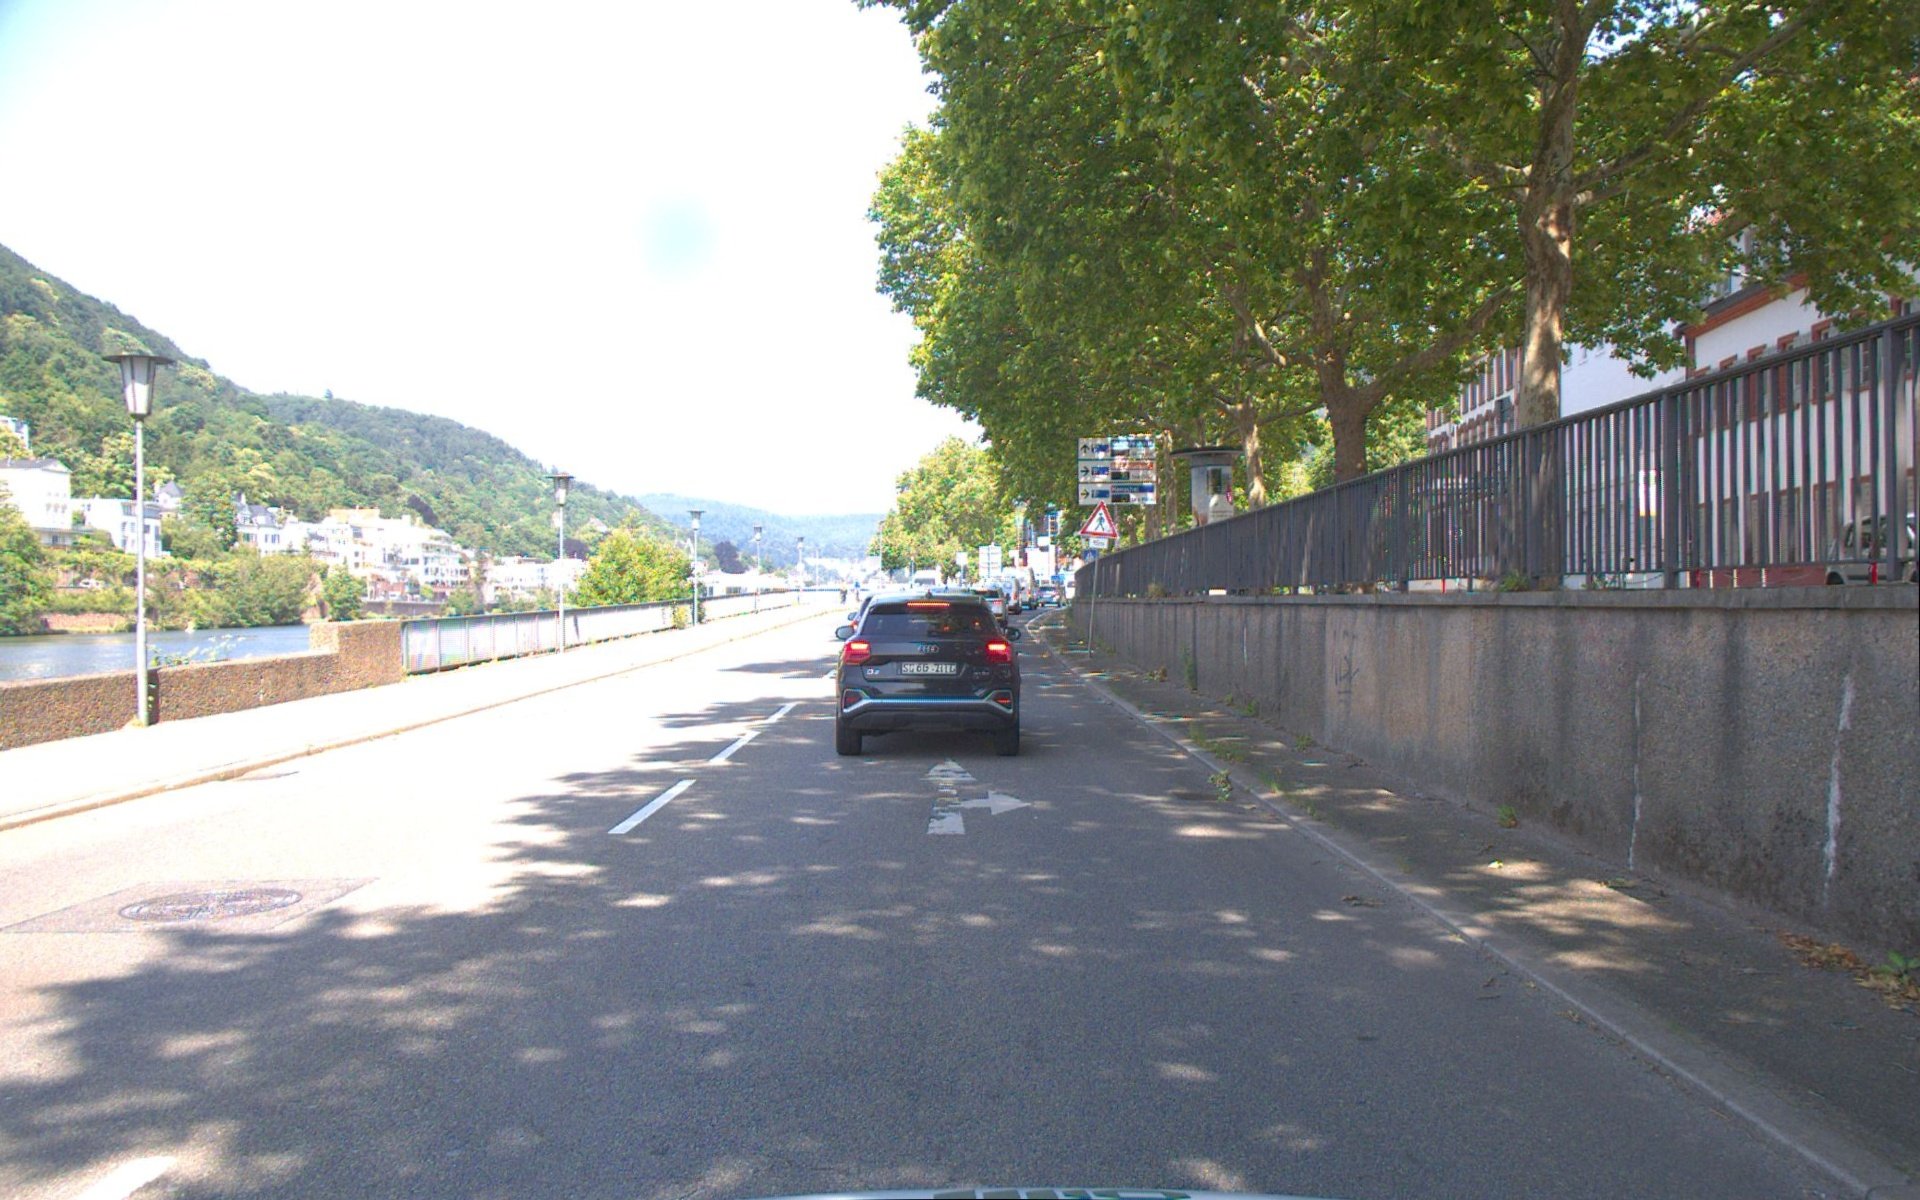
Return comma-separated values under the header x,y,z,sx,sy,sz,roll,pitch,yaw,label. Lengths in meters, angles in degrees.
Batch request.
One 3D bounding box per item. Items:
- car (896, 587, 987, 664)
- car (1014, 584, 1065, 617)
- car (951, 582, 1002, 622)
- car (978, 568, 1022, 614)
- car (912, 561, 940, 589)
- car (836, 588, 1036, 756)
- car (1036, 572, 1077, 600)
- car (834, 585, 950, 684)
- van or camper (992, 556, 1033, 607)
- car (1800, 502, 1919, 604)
x,y,z,sx,sy,sz,roll,pitch,yaw,label
-0.411,0.489,34.625,1.791,1.512,3.999,0,0,-1,car
5.551,-0.013,116.180,3.036,2.048,5.823,-4,1,-1,car
0.592,0.063,61.839,1.791,1.470,3.999,0,0,-1,car
2.109,-0.491,86.710,1.952,2.207,4.003,-3,0,5,car
-2.611,-1.910,127.362,1.953,2.048,3.999,-3,0,-1,car
-0.257,0.635,16.860,1.791,1.512,3.999,0,0,-1,car
7.513,-1.084,128.928,2.608,2.048,5.823,-3,0,-1,car
-1.095,0.521,27.542,1.791,1.537,3.999,0,0,-1,car
3.169,-1.115,100.224,2.263,2.896,4.246,-3,0,1,van or camper
14.698,-0.741,25.213,1.835,1.452,3.718,-3,0,0,car
